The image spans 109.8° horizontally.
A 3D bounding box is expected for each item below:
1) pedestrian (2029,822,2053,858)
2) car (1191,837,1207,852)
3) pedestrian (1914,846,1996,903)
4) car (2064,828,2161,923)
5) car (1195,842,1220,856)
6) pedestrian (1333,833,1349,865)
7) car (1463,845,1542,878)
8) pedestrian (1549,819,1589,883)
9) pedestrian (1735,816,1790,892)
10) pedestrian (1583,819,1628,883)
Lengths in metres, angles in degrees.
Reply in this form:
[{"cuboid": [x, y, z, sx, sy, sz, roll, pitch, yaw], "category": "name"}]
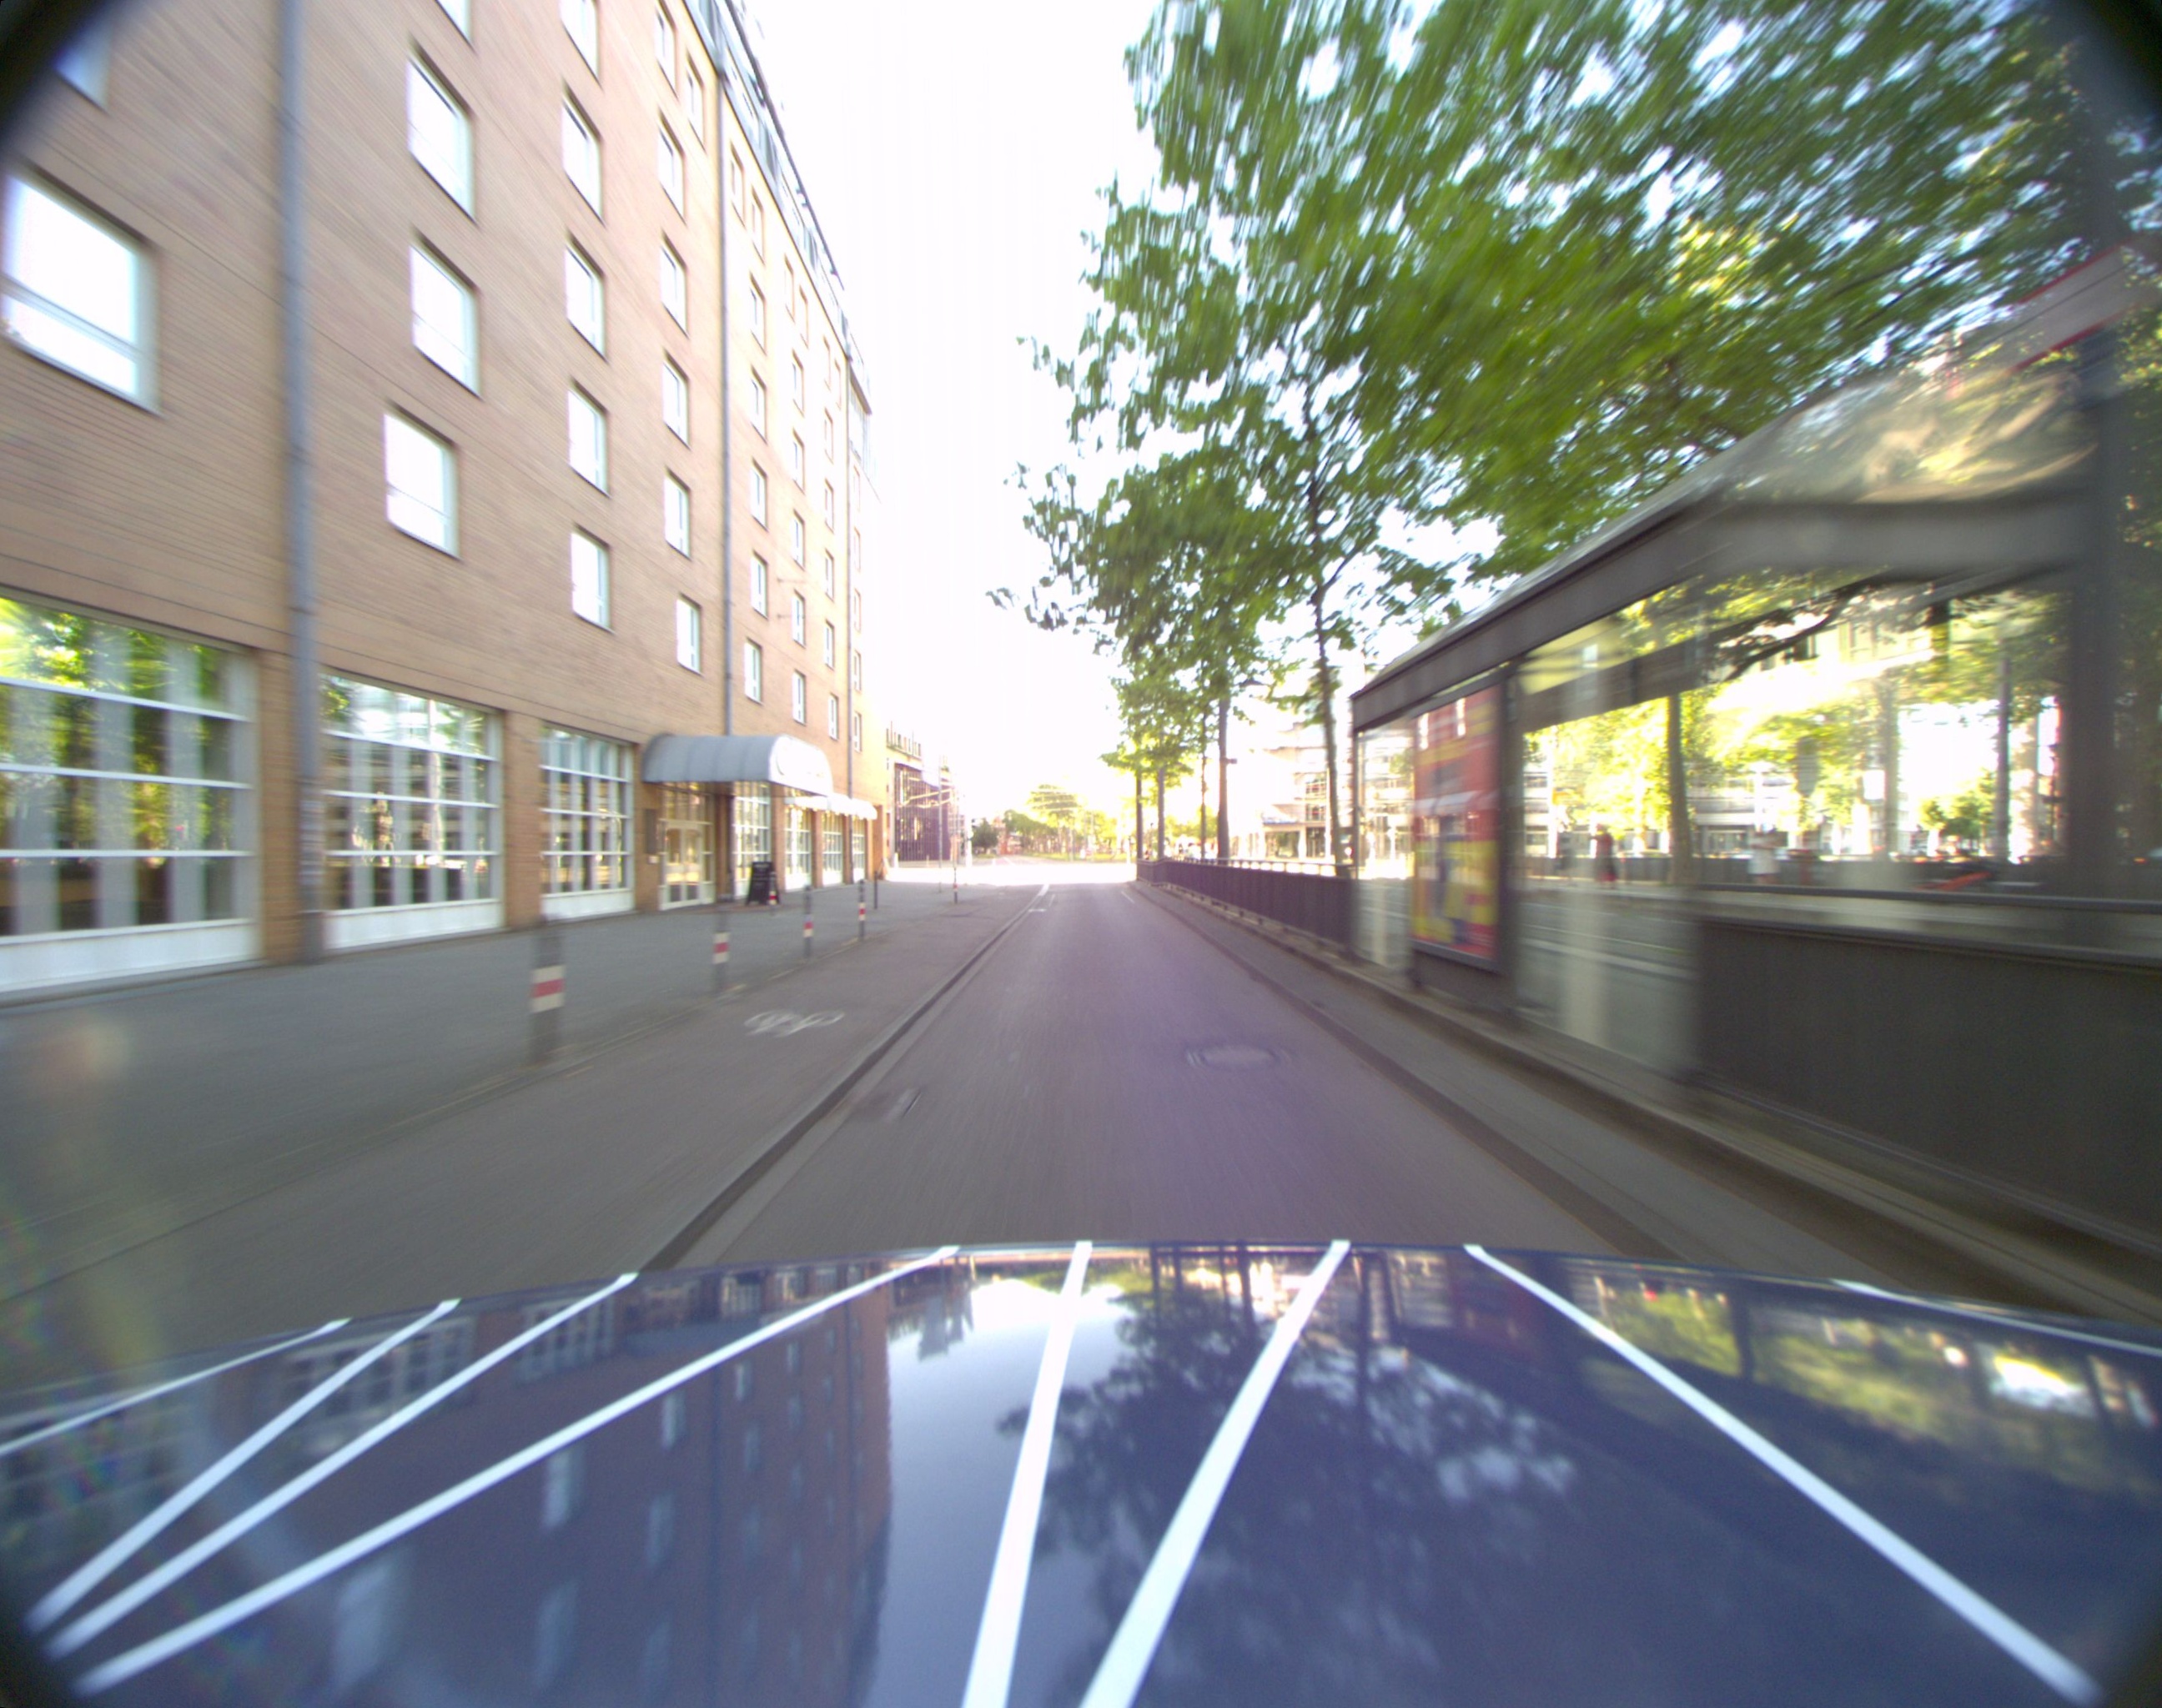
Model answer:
[{"cuboid": [45.126, -0.670, 35.721, 0.624, 1.673, 0.531, 0, 2, 44], "category": "pedestrian"}, {"cuboid": [15.520, -1.252, 99.945, 1.997, 1.772, 4.002, -2, 0, 8], "category": "car"}, {"cuboid": [16.476, 0.374, 14.338, 0.723, 1.034, 0.698, -1, 1, 8], "category": "pedestrian"}, {"cuboid": [19.558, 0.378, 12.347, 1.998, 1.630, 4.000, 0, 1, 2], "category": "car"}, {"cuboid": [14.080, -0.557, 84.468, 1.906, 1.474, 4.293, 0, 1, 21], "category": "car"}, {"cuboid": [13.850, -0.253, 40.503, 0.648, 1.676, 0.501, -1, 1, -3], "category": "pedestrian"}, {"cuboid": [19.723, 0.306, 35.723, 1.871, 1.447, 3.341, -1, 1, 1], "category": "car"}, {"cuboid": [13.510, -0.092, 21.031, 0.656, 1.744, 0.676, -1, 1, -8], "category": "pedestrian"}, {"cuboid": [15.838, -0.003, 17.665, 0.698, 1.730, 0.637, -1, 1, -8], "category": "pedestrian"}, {"cuboid": [14.022, -0.090, 20.330, 0.686, 1.686, 0.698, -1, 1, -8], "category": "pedestrian"}]
